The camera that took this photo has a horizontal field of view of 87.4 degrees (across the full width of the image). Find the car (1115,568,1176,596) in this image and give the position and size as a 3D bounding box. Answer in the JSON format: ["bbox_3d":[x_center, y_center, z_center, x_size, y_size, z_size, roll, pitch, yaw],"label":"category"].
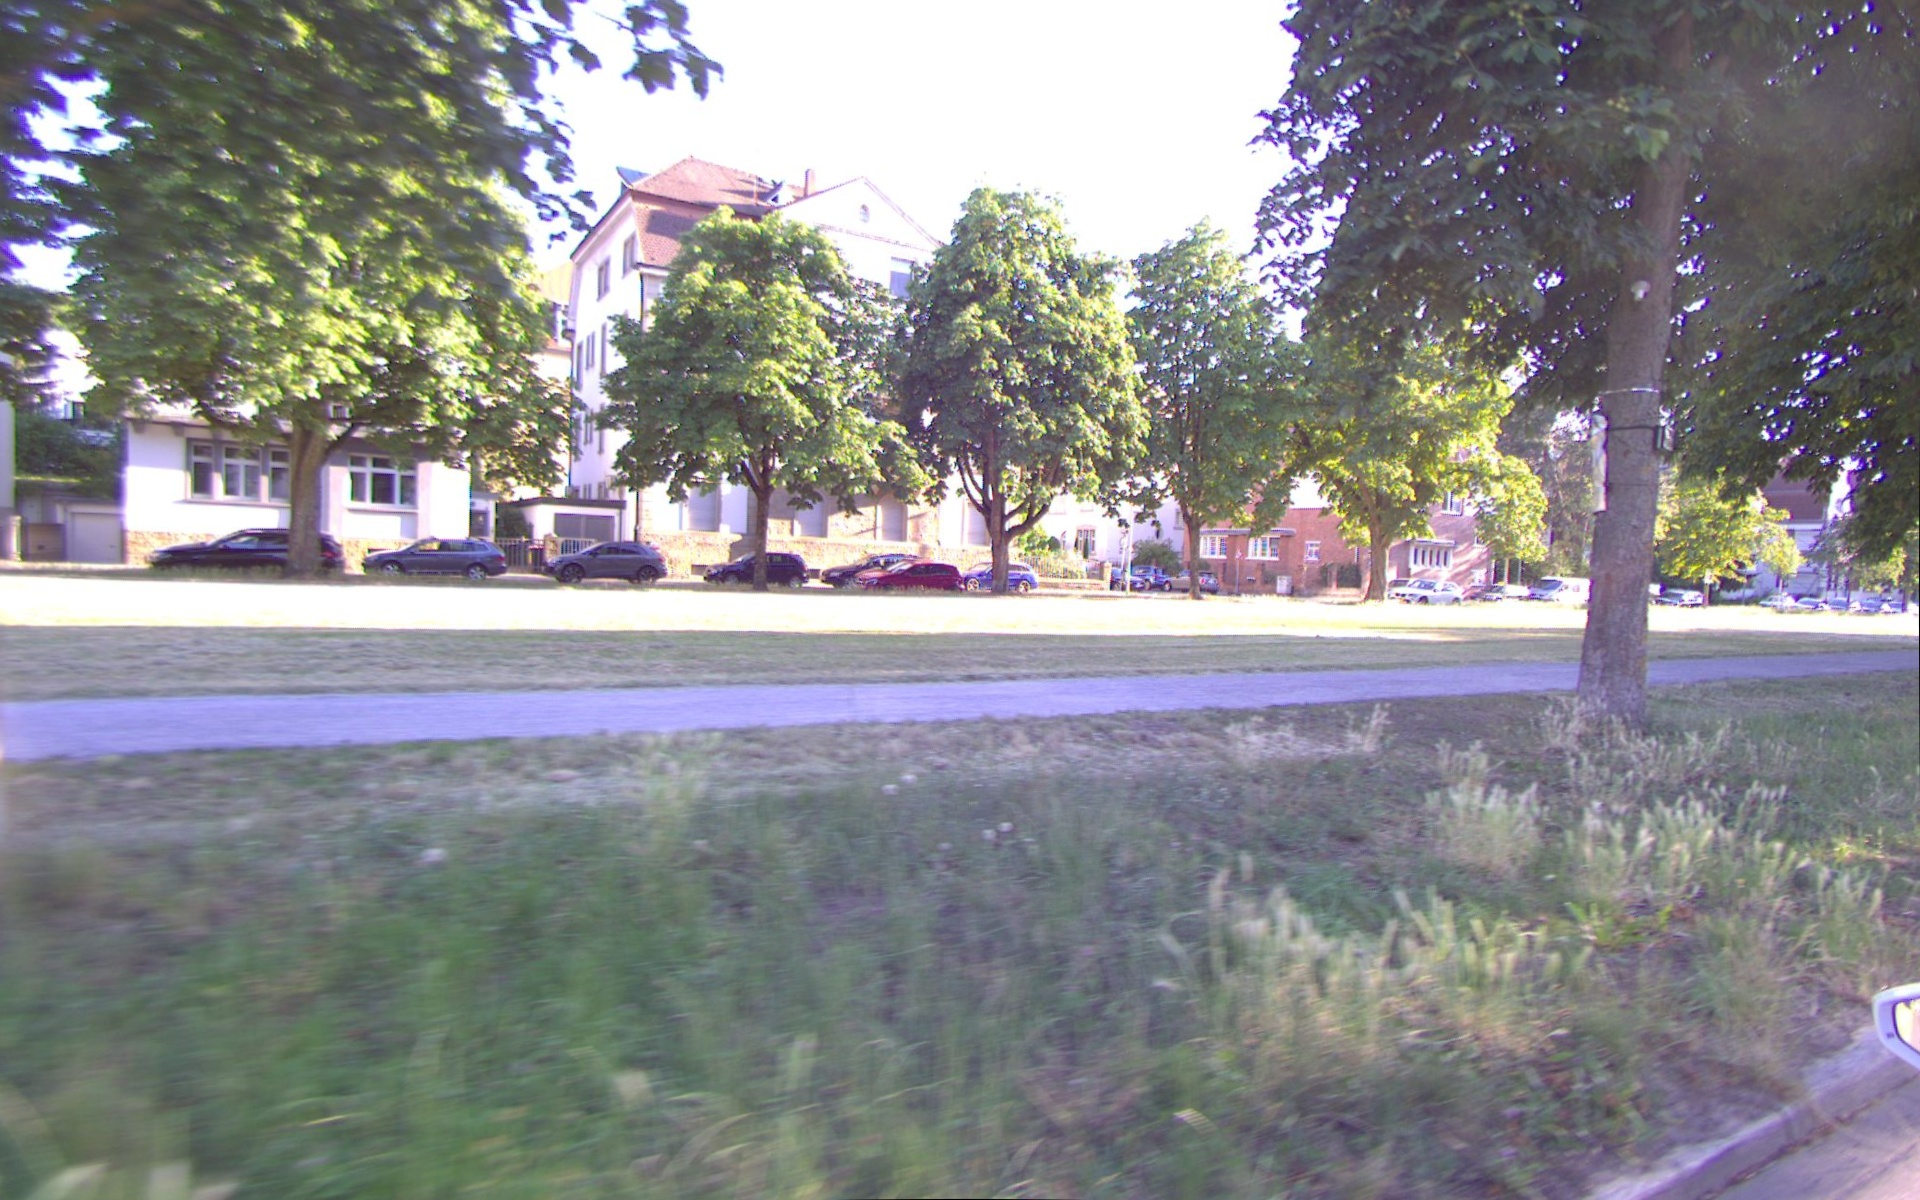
[{"bbox_3d":[12.188,-1.216,66.176,1.814,1.595,3.877,1,3,-30],"label":"car"}]

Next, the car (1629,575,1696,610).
[{"bbox_3d":[45.989,-0.483,65.736,3.952,2.041,1.984,1,4,-30],"label":"car"}]

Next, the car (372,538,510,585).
[{"bbox_3d":[-17.975,-1.328,34.915,4.117,1.449,1.985,1,3,-28],"label":"car"}]

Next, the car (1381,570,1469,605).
[{"bbox_3d":[24.460,-0.658,52.788,4.596,1.661,1.810,1,3,-30],"label":"car"}]

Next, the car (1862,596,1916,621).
[{"bbox_3d":[78.510,0.727,84.895,4.203,1.885,1.985,2,3,-29],"label":"car"}]

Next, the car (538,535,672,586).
[{"bbox_3d":[-13.164,-1.471,37.341,4.379,1.675,1.983,1,3,-31],"label":"car"}]

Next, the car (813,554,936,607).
[{"bbox_3d":[-3.644,-0.825,42.917,4.815,2.041,1.985,1,3,-28],"label":"car"}]

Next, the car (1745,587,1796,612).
[{"bbox_3d":[69.109,-0.053,85.623,3.952,2.040,2.022,2,0,-29],"label":"car"}]

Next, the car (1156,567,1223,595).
[{"bbox_3d":[14.240,-1.200,62.465,1.842,1.506,3.969,1,3,-28],"label":"car"}]

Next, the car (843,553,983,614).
[{"bbox_3d":[-1.740,-0.603,37.460,4.815,2.041,1.985,1,3,-28],"label":"car"}]

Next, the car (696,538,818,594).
[{"bbox_3d":[-8.136,-1.361,40.354,4.379,2.041,1.983,1,3,-31],"label":"car"}]

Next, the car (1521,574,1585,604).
[{"bbox_3d":[40.564,-0.755,68.693,4.355,1.862,1.808,1,3,-30],"label":"car"}]

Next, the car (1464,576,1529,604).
[{"bbox_3d":[35.461,-0.653,66.370,4.253,1.645,1.748,1,3,-30],"label":"car"}]

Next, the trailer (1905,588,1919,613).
[{"bbox_3d":[99.955,0.123,103.749,4.667,2.461,1.984,1,3,-30],"label":"trailer"}]

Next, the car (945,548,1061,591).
[{"bbox_3d":[2.001,-1.387,45.953,4.945,1.773,1.985,1,3,-28],"label":"car"}]

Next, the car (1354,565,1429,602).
[{"bbox_3d":[25.649,-0.987,59.705,4.316,2.041,1.748,1,3,-30],"label":"car"}]
